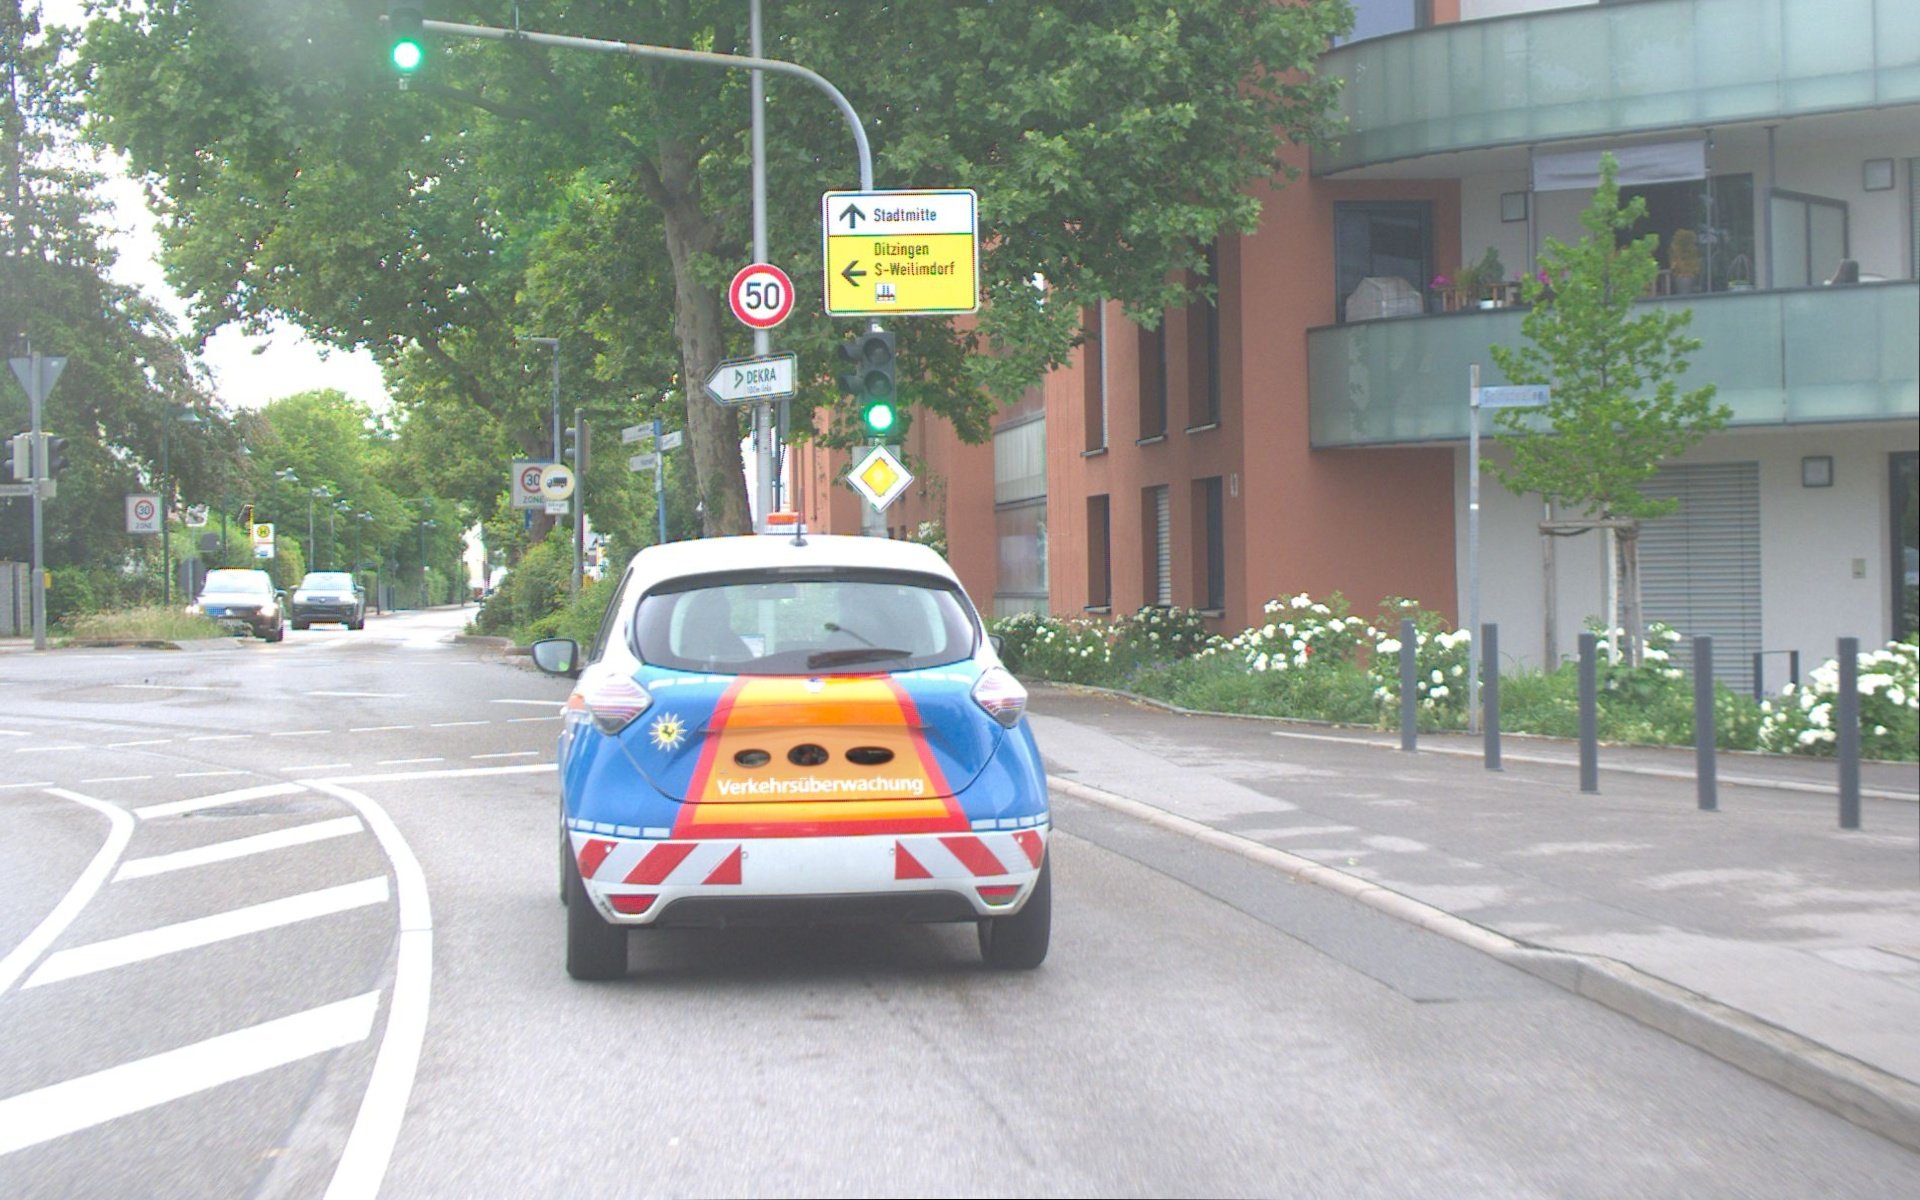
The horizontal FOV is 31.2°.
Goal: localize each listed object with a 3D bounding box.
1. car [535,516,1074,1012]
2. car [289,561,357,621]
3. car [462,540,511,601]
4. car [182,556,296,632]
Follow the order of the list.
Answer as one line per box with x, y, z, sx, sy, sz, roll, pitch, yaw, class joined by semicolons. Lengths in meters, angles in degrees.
-0.726;0.488;13.358;1.745;1.575;4.001;-2;2;-6;car
-18.272;-0.288;98.700;1.877;1.663;3.715;0;1;-10;car
-16.161;-1.025;117.405;1.643;2.010;3.716;0;2;-8;car
-14.557;-0.127;69.555;1.941;1.447;4.300;1;0;-8;car
